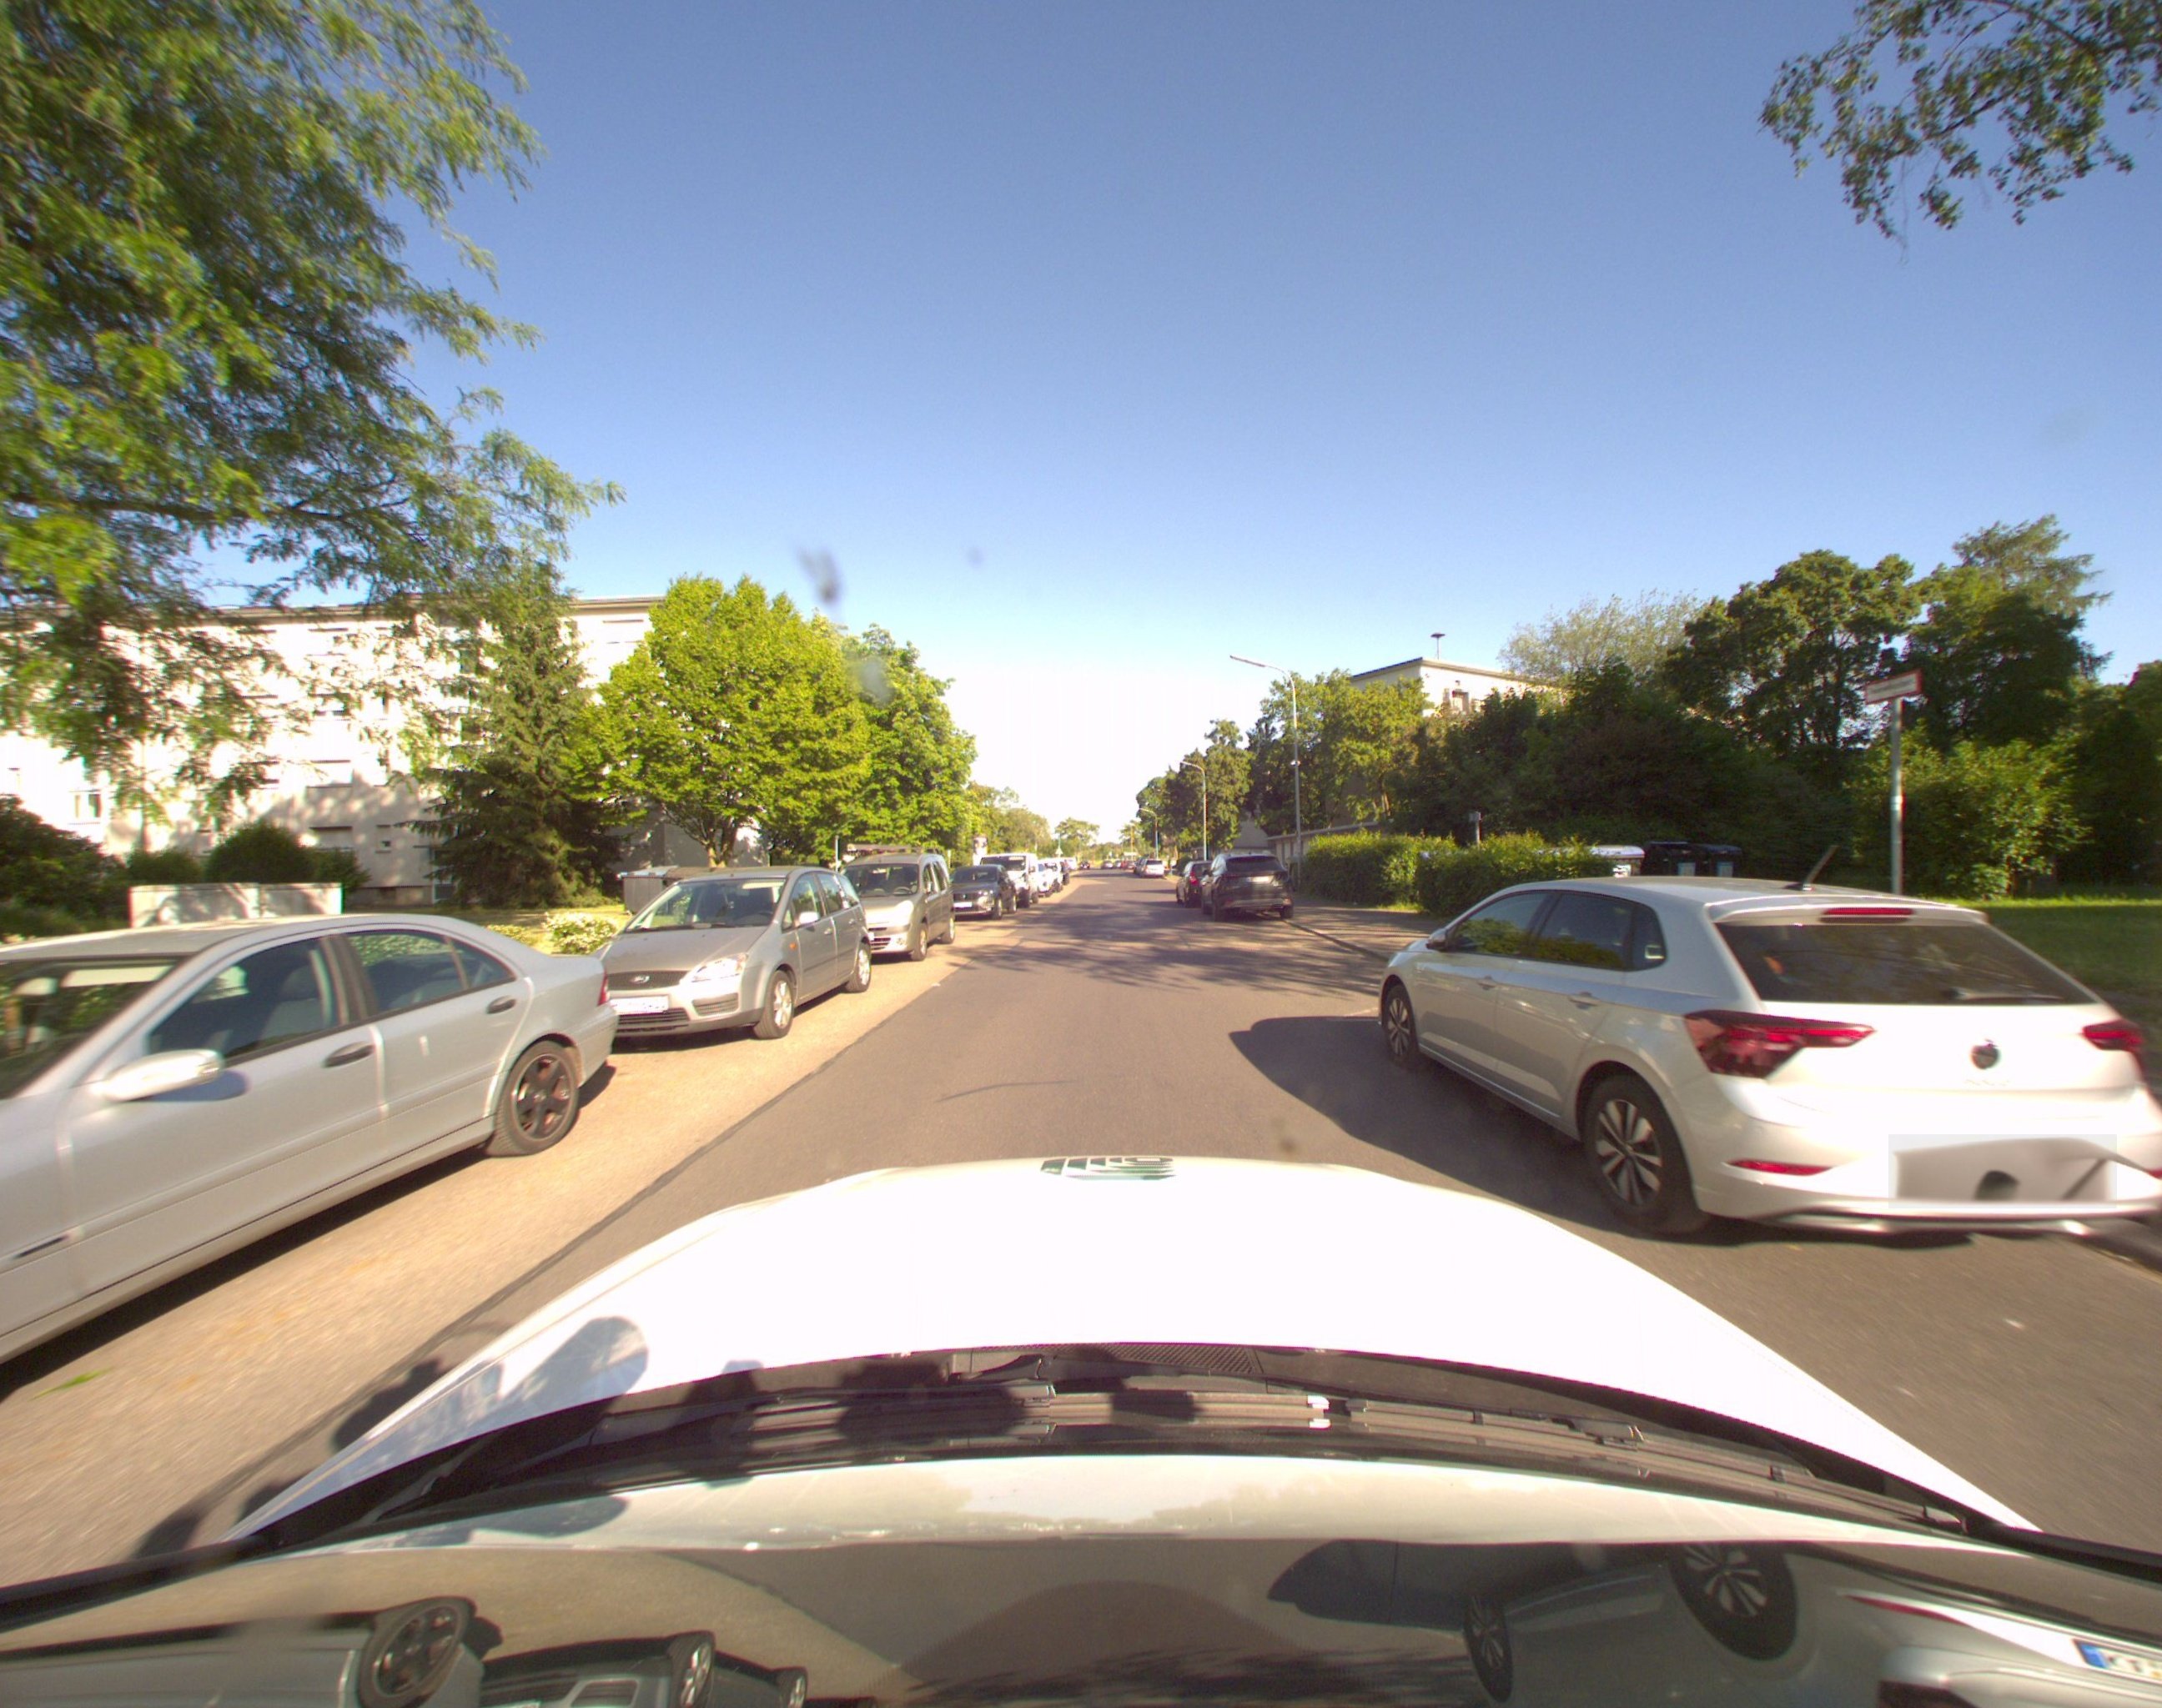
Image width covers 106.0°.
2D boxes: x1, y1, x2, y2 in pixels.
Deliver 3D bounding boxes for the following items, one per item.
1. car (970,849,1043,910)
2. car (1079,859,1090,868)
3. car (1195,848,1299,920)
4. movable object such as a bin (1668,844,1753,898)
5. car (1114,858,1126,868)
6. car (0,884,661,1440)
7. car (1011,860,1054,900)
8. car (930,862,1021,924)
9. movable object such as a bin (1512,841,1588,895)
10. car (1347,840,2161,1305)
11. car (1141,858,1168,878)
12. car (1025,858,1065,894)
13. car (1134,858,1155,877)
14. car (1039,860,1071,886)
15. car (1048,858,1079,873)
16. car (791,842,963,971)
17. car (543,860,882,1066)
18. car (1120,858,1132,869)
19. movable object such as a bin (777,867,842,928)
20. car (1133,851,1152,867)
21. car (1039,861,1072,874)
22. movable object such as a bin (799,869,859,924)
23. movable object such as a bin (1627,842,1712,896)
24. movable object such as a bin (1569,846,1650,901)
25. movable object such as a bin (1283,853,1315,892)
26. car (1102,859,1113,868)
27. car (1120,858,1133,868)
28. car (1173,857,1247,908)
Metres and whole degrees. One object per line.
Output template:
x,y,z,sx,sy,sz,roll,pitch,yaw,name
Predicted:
-2.619,0.860,29.950,1.907,1.962,5.090,-3,0,2,car
0.559,1.628,137.311,1.790,1.561,3.951,0,0,0,car
4.125,0.704,20.965,1.900,1.639,4.631,-1,0,2,car
16.778,0.441,21.735,1.254,1.353,1.275,-1,0,-8,movable object such as a bin
6.660,1.503,139.469,1.790,1.643,3.951,0,0,0,car
-3.902,0.984,3.469,1.680,1.465,4.527,-4,0,2,car
-2.211,1.151,38.151,1.741,1.669,4.376,-3,0,-1,car
-2.935,1.050,23.541,1.738,1.533,4.144,-3,0,4,car
12.245,0.351,21.295,1.250,1.353,1.279,-1,0,1,movable object such as a bin
3.080,0.727,4.725,1.748,1.513,4.103,0,0,0,car
5.986,1.156,66.717,1.790,1.561,3.951,0,0,0,car
-1.888,1.141,43.826,1.739,1.732,4.007,-3,0,2,car
6.443,1.340,82.591,1.790,1.786,3.951,0,0,0,car
-1.649,1.227,53.806,1.739,1.613,4.310,-3,0,2,car
-2.392,1.549,109.347,4.044,1.992,1.800,0,-1,-3,car
-3.451,0.815,14.700,1.848,1.892,4.418,-3,0,1,car
-3.558,0.921,8.776,1.704,1.600,3.986,-4,0,1,car
7.114,1.458,129.351,1.790,1.643,3.951,0,0,0,car
-6.738,1.057,20.294,1.097,1.421,1.362,1,0,2,movable object such as a bin
6.570,0.567,87.259,1.790,1.643,3.951,0,0,0,car
-3.127,1.608,100.660,4.044,1.562,1.800,0,-1,-3,car
-6.698,1.109,21.756,1.097,1.371,1.362,1,0,2,movable object such as a bin
15.334,0.388,21.251,1.253,1.353,1.276,-1,0,-6,movable object such as a bin
13.626,0.482,21.053,1.250,1.353,1.279,-1,0,1,movable object such as a bin
8.417,0.715,31.557,0.914,1.454,1.233,-2,-1,2,movable object such as a bin
4.283,1.543,131.626,1.674,1.513,4.103,0,0,0,car
6.837,1.316,122.136,1.790,1.549,3.951,0,0,0,car
4.144,0.872,26.716,1.900,1.531,4.330,-1,0,2,car
